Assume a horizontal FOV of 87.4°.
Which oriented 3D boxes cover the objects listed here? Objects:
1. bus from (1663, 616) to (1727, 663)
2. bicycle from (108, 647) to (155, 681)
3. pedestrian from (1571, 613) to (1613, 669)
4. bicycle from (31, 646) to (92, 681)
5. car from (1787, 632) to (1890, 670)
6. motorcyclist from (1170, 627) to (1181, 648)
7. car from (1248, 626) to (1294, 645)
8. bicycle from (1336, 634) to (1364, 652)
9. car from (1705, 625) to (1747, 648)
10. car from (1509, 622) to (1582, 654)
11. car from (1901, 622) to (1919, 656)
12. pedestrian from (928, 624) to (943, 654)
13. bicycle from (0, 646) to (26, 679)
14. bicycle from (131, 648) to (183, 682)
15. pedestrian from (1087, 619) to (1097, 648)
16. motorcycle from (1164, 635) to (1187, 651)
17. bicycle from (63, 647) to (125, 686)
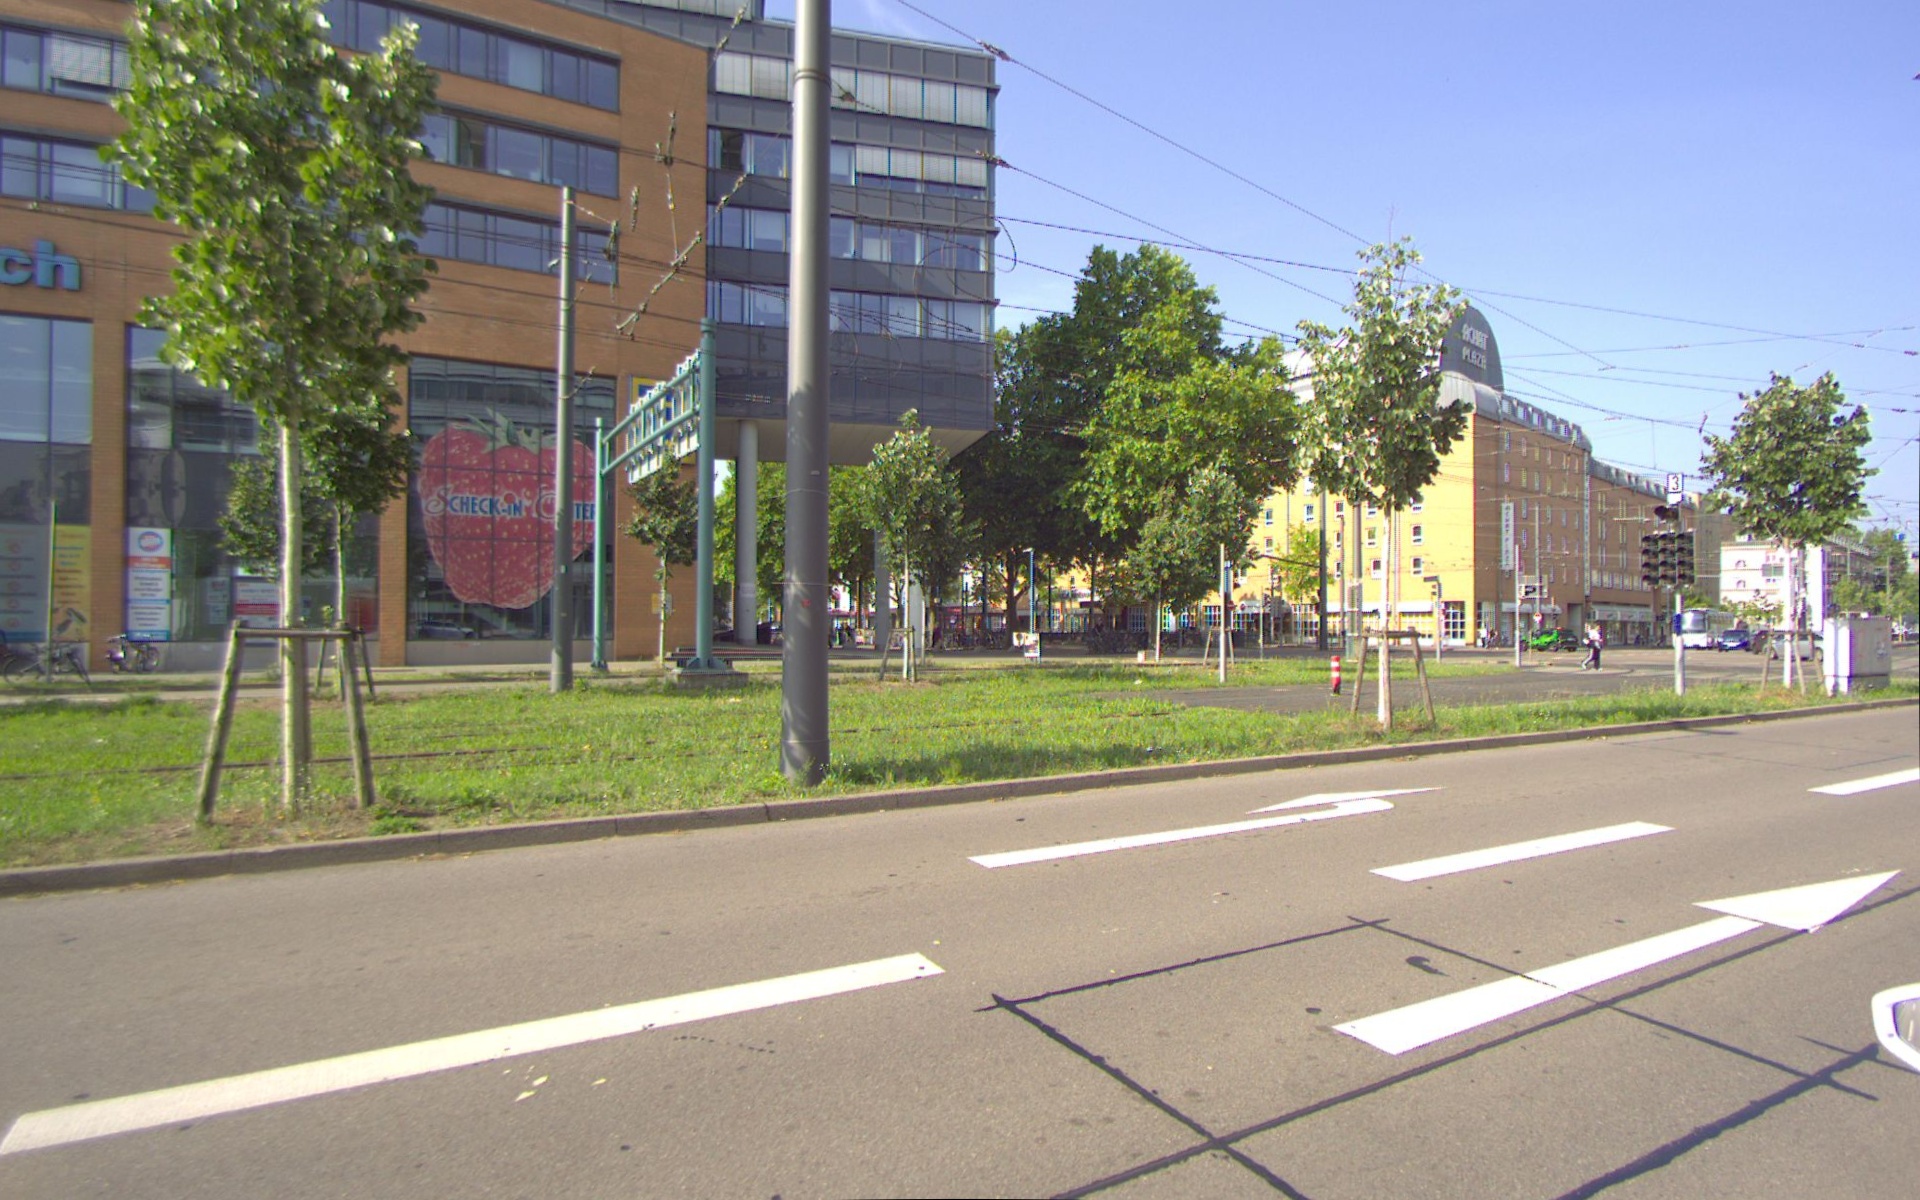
[{"bbox_3d":[66.599,3.690,90.874,12.137,3.972,2.720,4,-3,-44],"label":"bus"},{"bbox_3d":[-24.689,1.898,29.965,0.375,0.934,2.046,1,-1,-19],"label":"bicycle"},{"bbox_3d":[23.281,1.516,37.014,0.770,2.040,1.145,3,-3,-41],"label":"pedestrian"},{"bbox_3d":[-26.151,1.838,29.260,0.564,0.934,2.046,1,-1,-19],"label":"bicycle"},{"bbox_3d":[43.042,2.480,49.338,1.676,1.778,3.892,1,-2,1],"label":"car"},{"bbox_3d":[13.848,2.407,64.573,0.414,1.339,0.527,3,-2,-38],"label":"motorcyclist"},{"bbox_3d":[28.372,3.207,91.672,1.850,1.645,3.587,1,-2,-36],"label":"car"},{"bbox_3d":[28.398,3.141,73.094,2.258,1.222,0.546,3,-2,-27],"label":"bicycle"},{"bbox_3d":[55.405,2.624,72.757,1.958,1.657,4.404,-1,-2,32],"label":"car"},{"bbox_3d":[39.423,2.583,67.694,1.968,2.040,3.985,2,-2,-18],"label":"car"},{"bbox_3d":[48.035,1.876,48.194,1.657,1.656,4.393,-1,-1,0],"label":"car"},{"bbox_3d":[-1.278,2.020,52.258,0.651,1.563,0.617,0,-1,-13],"label":"pedestrian"},{"bbox_3d":[-27.744,1.803,28.829,0.564,0.934,2.046,1,-1,-19],"label":"bicycle"},{"bbox_3d":[-24.070,1.921,30.152,0.564,0.934,2.046,1,-1,-19],"label":"bicycle"},{"bbox_3d":[9.362,2.348,71.203,0.535,2.040,0.485,3,-2,-38],"label":"pedestrian"},{"bbox_3d":[13.853,2.761,64.547,0.281,1.008,1.677,3,-3,-38],"label":"motorcycle"},{"bbox_3d":[-22.150,1.677,25.722,0.700,0.919,1.671,1,-2,-23],"label":"bicycle"}]
